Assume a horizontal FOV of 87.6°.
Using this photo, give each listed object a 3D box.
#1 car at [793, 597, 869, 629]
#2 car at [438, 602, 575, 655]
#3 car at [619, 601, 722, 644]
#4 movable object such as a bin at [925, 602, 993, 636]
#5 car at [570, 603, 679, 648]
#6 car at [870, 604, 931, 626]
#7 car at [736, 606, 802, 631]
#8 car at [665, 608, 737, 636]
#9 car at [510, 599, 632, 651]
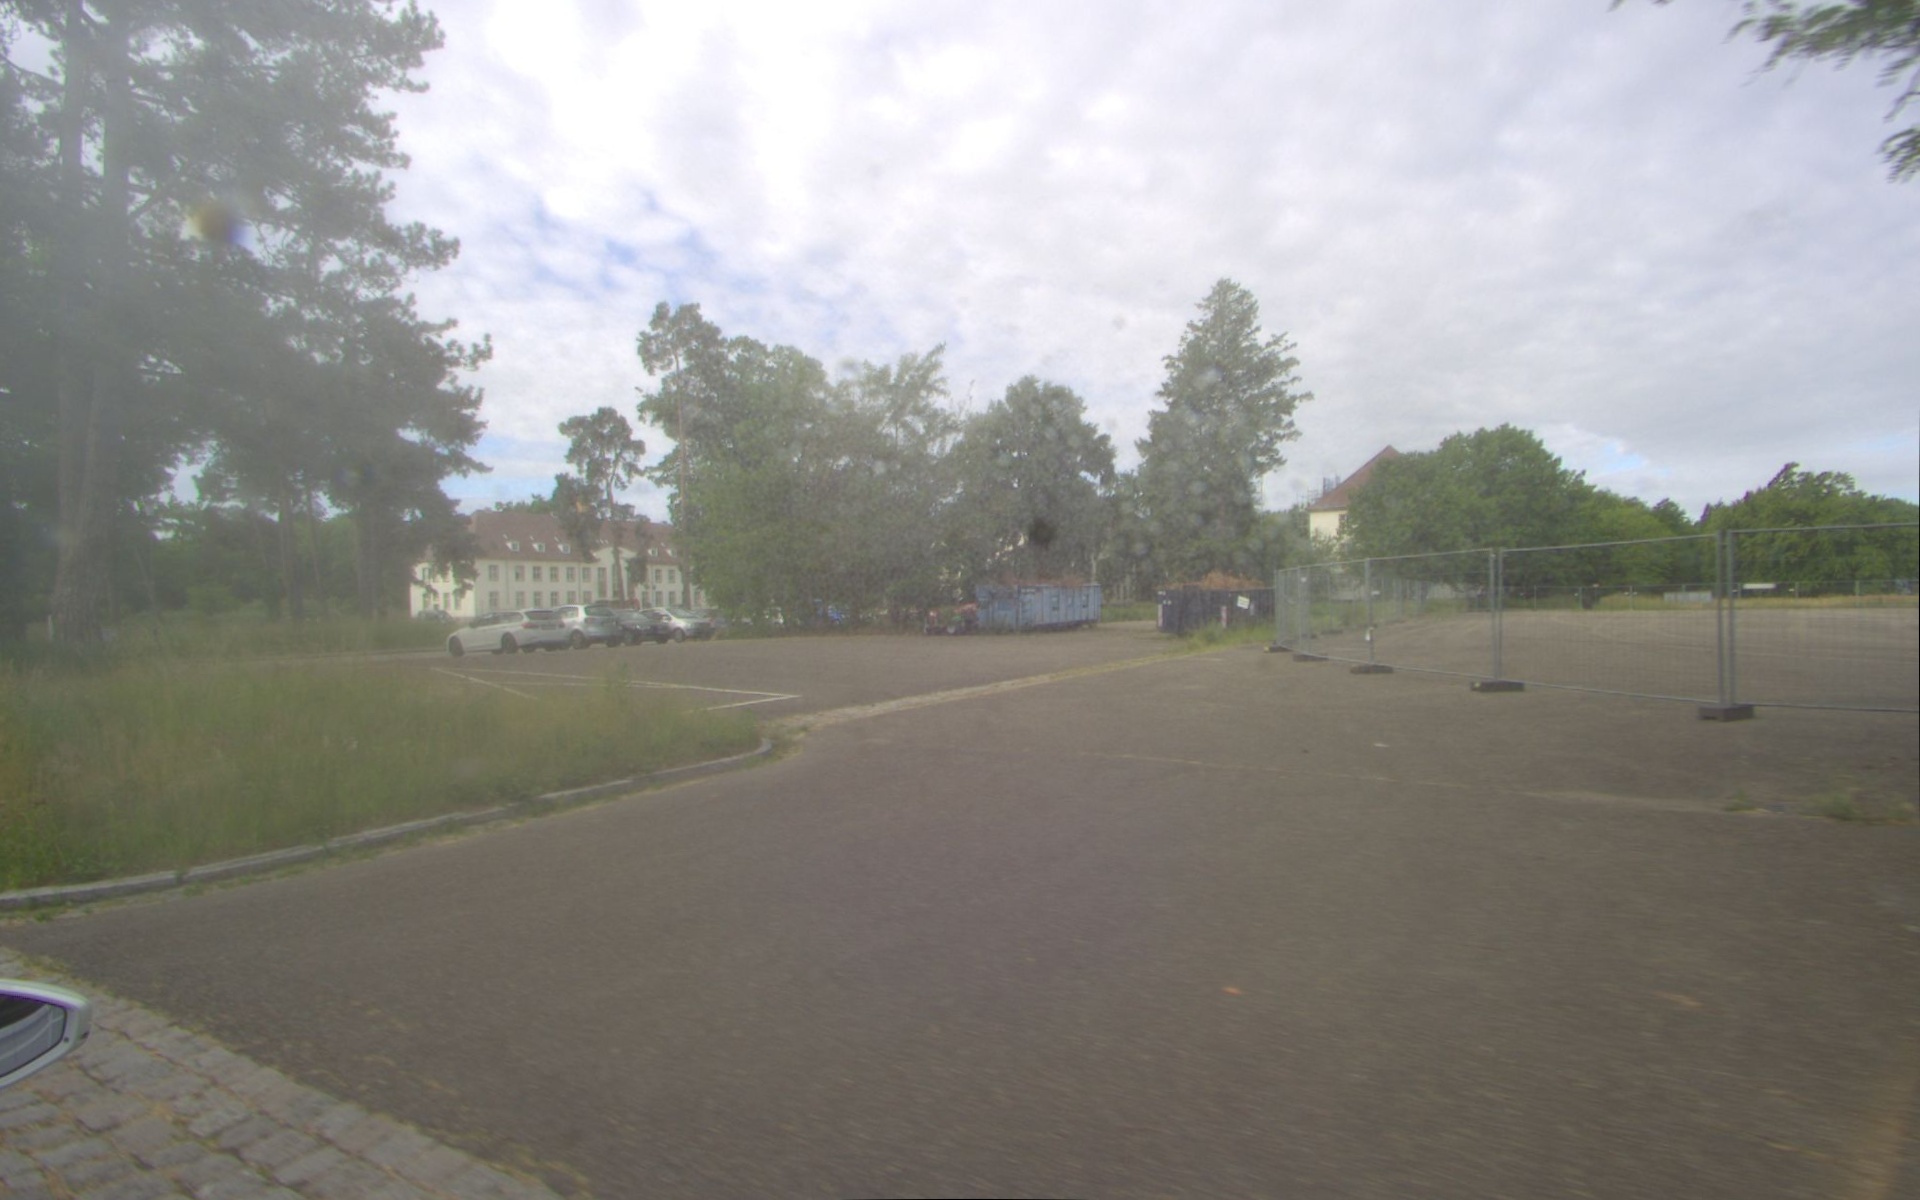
[{"bbox_3d":[-8.519,0.873,65.813,4.724,2.053,2.131,-1,0,33],"label":"car"},{"bbox_3d":[-15.218,0.975,33.559,4.541,1.505,1.847,-4,-2,29],"label":"car"},{"bbox_3d":[-11.847,0.915,40.890,4.186,1.504,1.697,-4,-1,33],"label":"car"},{"bbox_3d":[-0.036,0.670,34.942,2.176,1.149,0.960,-1,-1,23],"label":"movable object such as a bin"},{"bbox_3d":[-12.848,0.982,38.290,4.186,1.504,1.697,-4,-1,33],"label":"car"},{"bbox_3d":[-4.372,1.078,73.379,4.182,1.541,1.730,-1,0,32],"label":"car"},{"bbox_3d":[-11.710,1.122,61.386,4.189,1.521,1.610,-1,0,37],"label":"car"},{"bbox_3d":[-14.642,1.226,56.530,4.189,1.492,1.727,-1,0,37],"label":"car"},{"bbox_3d":[-13.953,0.903,35.882,4.181,1.626,1.780,-4,-1,29],"label":"car"}]
